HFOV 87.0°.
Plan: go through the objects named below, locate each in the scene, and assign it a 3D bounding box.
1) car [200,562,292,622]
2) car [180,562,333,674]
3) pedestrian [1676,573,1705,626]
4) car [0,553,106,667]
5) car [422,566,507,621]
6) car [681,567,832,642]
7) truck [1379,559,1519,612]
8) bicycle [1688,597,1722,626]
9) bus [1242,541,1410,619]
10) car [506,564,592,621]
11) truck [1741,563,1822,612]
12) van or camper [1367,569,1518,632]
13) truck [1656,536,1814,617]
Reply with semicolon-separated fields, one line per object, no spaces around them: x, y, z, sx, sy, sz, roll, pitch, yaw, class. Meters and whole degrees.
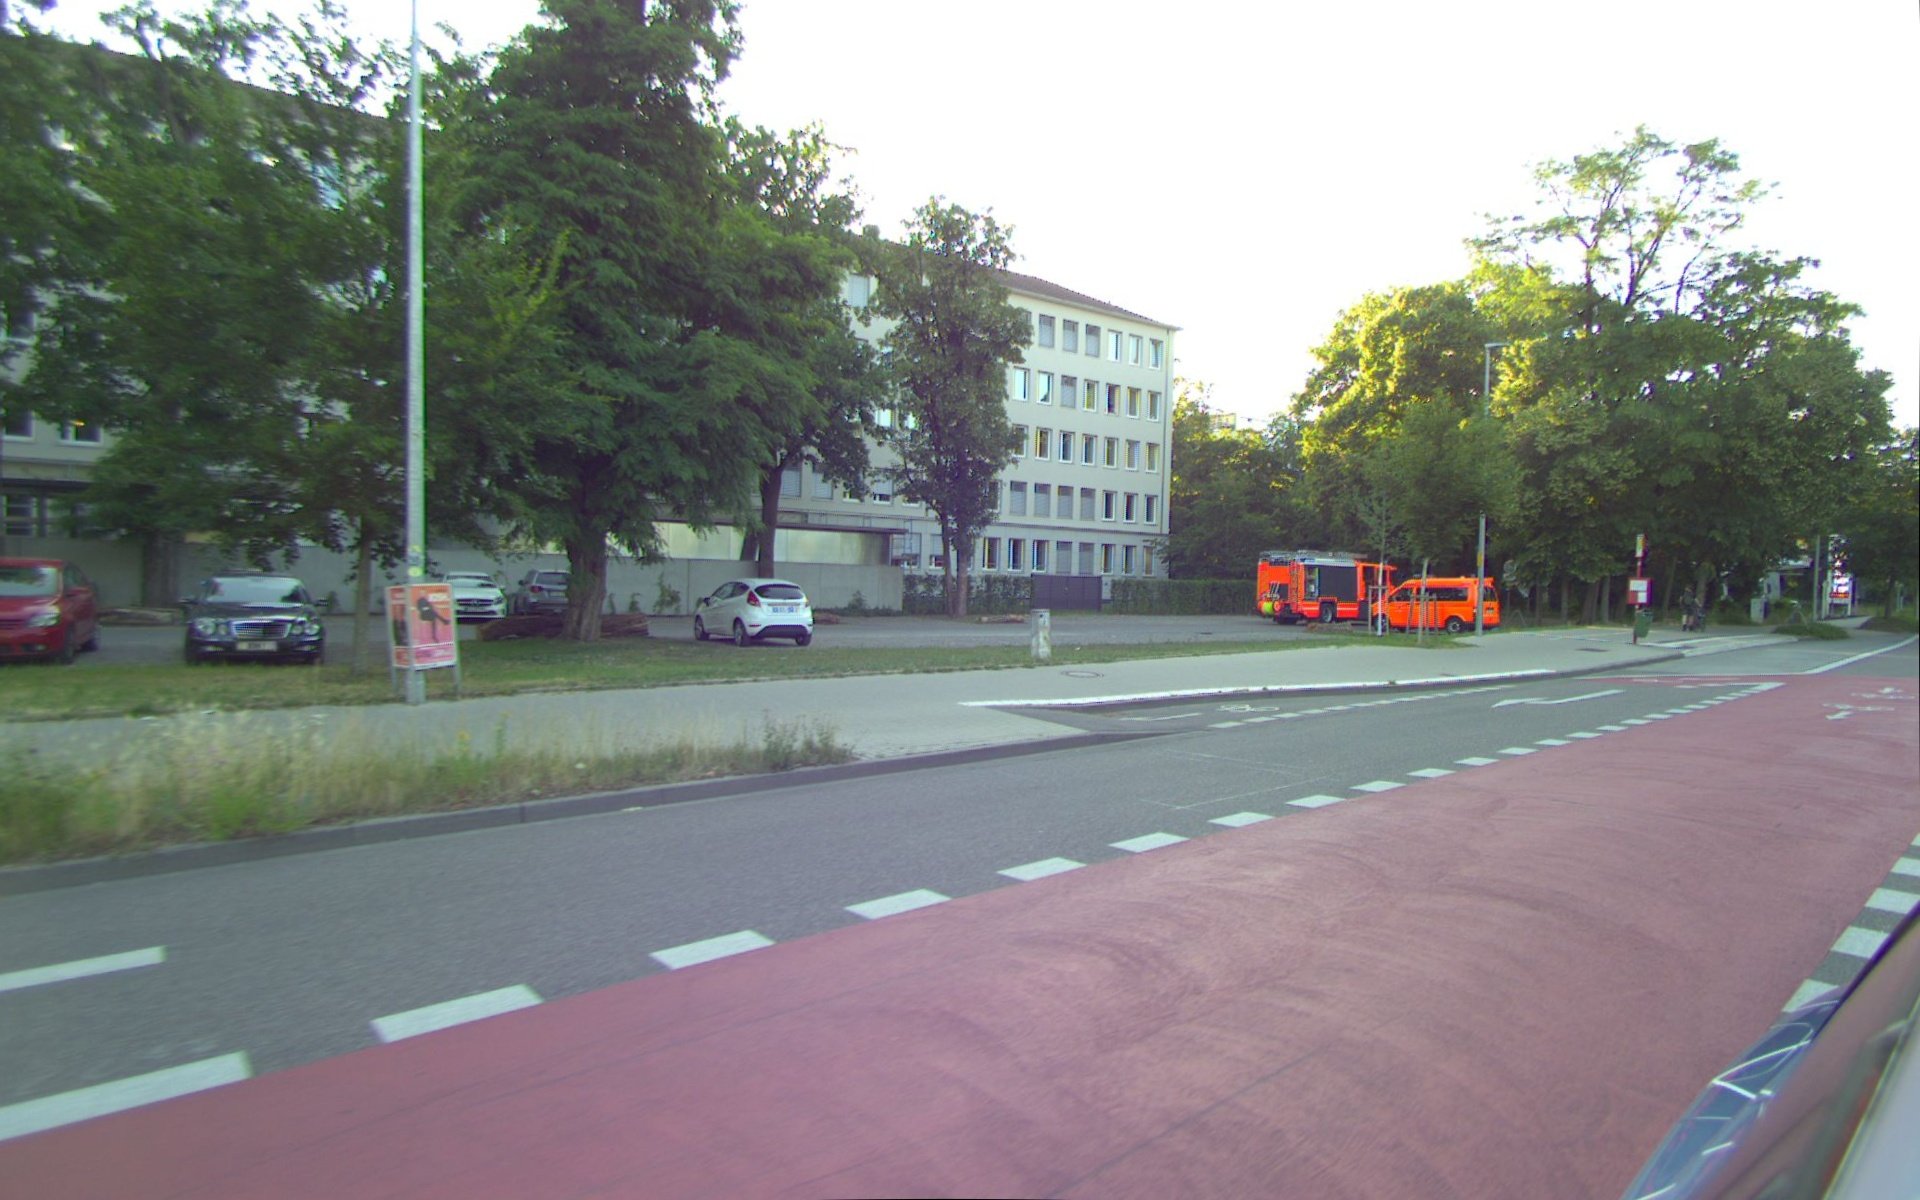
-18.969;-0.228;26.963;1.866;1.460;4.001;0;1;-35;car
-11.952;0.172;17.100;1.866;1.466;4.584;-2;5;-37;car
28.838;-0.017;39.964;0.683;2.038;0.724;0;2;-43;pedestrian
-14.659;0.073;15.638;1.751;1.580;4.003;0;2;-33;car
-14.630;-0.207;29.790;1.797;1.494;4.002;0;1;-33;car
-4.714;0.062;23.055;1.876;1.556;3.999;0;1;-36;car
32.424;-1.038;67.605;2.703;3.251;8.682;1;1;-23;truck
29.193;0.447;39.651;0.829;1.112;1.939;-4;-3;42;bicycle
16.535;-0.848;45.516;7.810;3.236;2.999;0;0;-33;bus
-12.829;-0.260;31.474;1.875;1.637;4.003;-1;1;-31;car
68.447;-1.022;84.137;15.619;3.776;3.222;0;1;-43;truck
18.647;-0.018;39.351;2.251;2.273;4.829;0;1;-35;van or camper
60.016;-1.862;79.165;5.093;5.643;14.993;2;1;19;truck
